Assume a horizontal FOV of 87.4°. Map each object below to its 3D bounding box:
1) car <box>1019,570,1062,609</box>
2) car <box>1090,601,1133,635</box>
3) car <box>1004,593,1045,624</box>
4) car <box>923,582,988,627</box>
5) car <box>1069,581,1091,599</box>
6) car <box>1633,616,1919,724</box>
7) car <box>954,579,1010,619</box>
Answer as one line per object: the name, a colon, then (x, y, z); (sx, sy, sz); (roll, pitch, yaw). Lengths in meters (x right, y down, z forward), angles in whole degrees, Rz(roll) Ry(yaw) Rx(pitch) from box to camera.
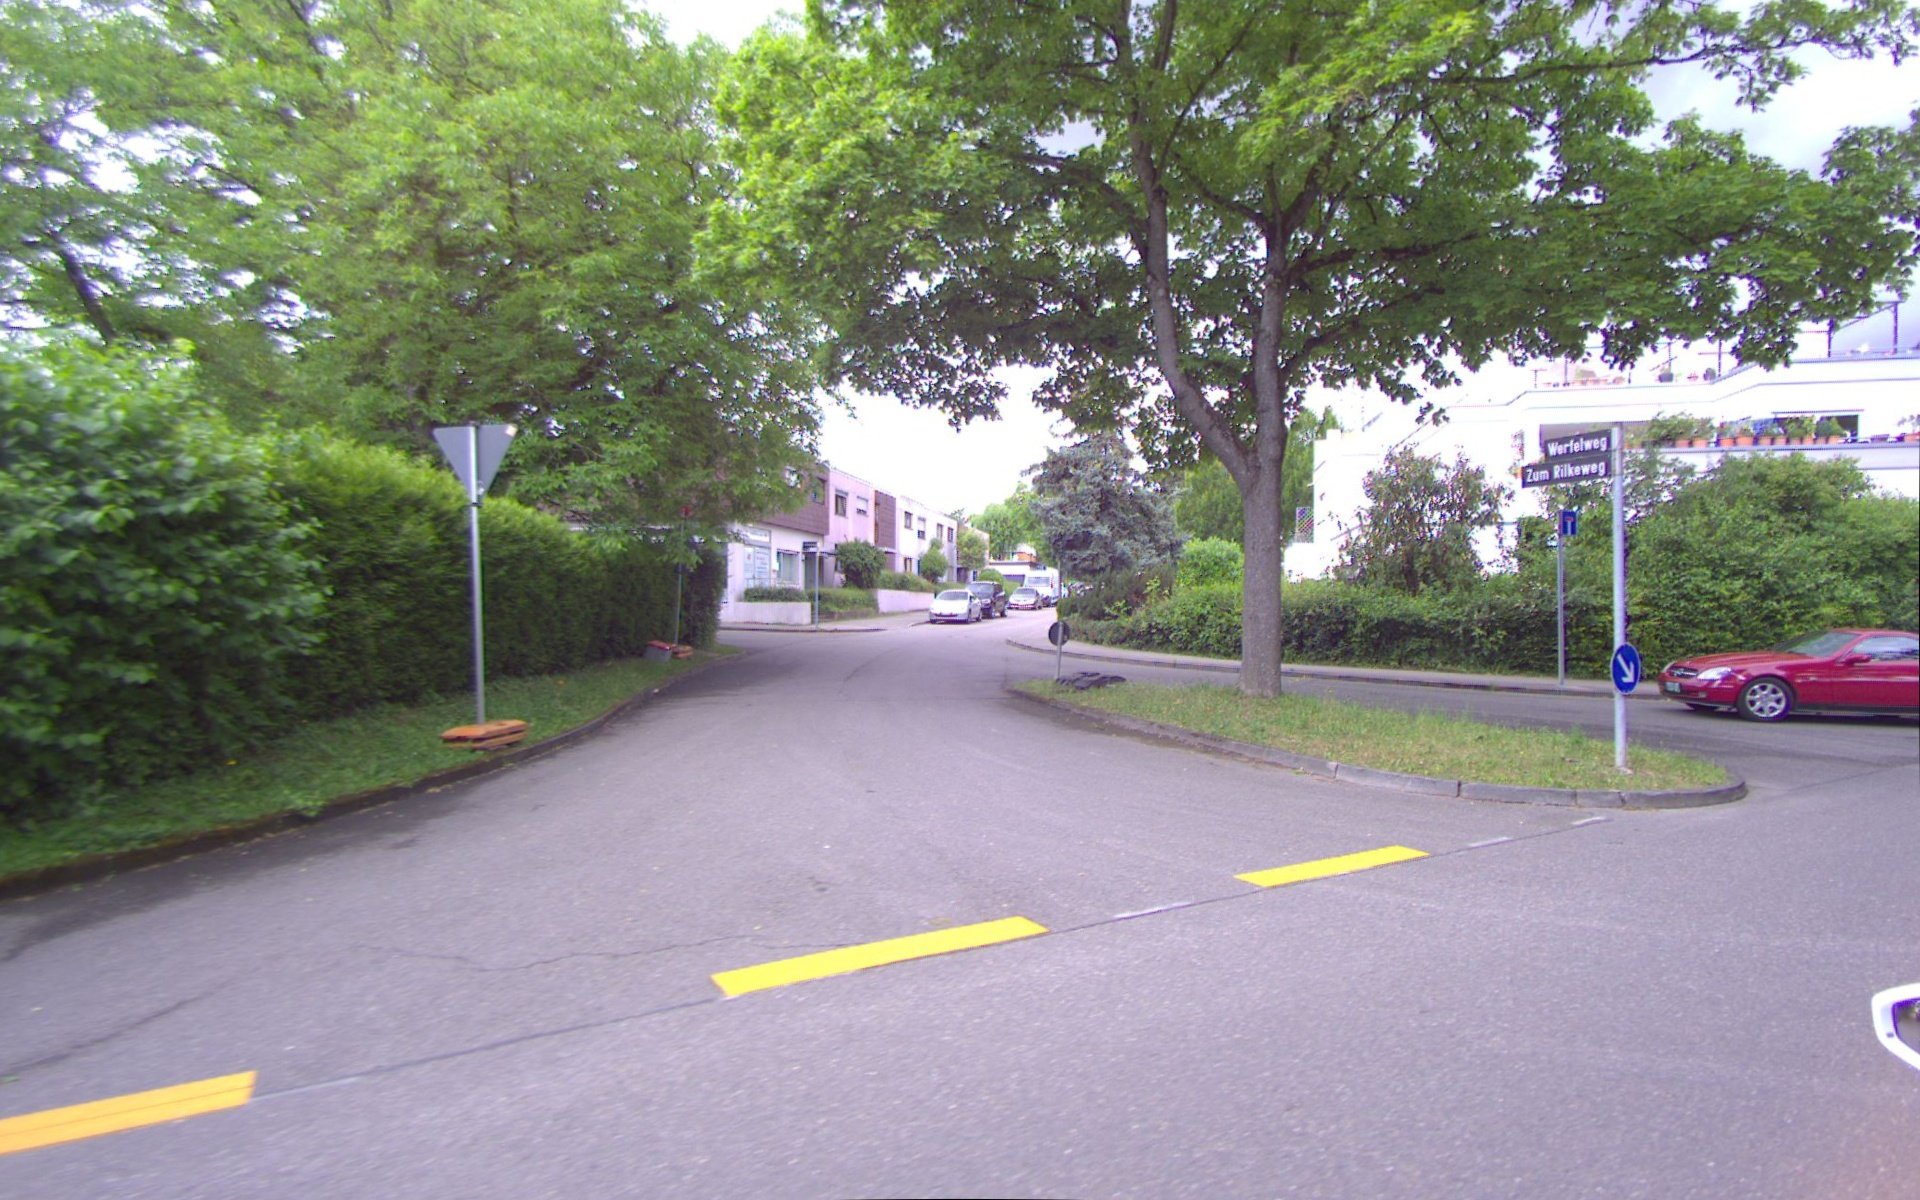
car: (5.637, -0.688, 69.830); (1.991, 2.473, 4.901); (0, -2, 16)
car: (7.594, 0.906, 50.081); (1.724, 1.574, 4.003); (1, -2, 14)
car: (4.048, 0.553, 62.847); (1.724, 1.739, 4.002); (0, -2, 16)
car: (-0.128, 0.232, 43.420); (1.724, 1.739, 4.002); (0, -2, 16)
car: (12.545, -1.024, 104.850); (1.724, 1.739, 4.002); (0, -2, 16)
car: (12.049, 0.938, 14.062); (3.982, 1.353, 1.757); (1, 0, 11)
car: (1.133, -0.019, 48.978); (1.724, 1.739, 4.002); (0, -2, 16)
